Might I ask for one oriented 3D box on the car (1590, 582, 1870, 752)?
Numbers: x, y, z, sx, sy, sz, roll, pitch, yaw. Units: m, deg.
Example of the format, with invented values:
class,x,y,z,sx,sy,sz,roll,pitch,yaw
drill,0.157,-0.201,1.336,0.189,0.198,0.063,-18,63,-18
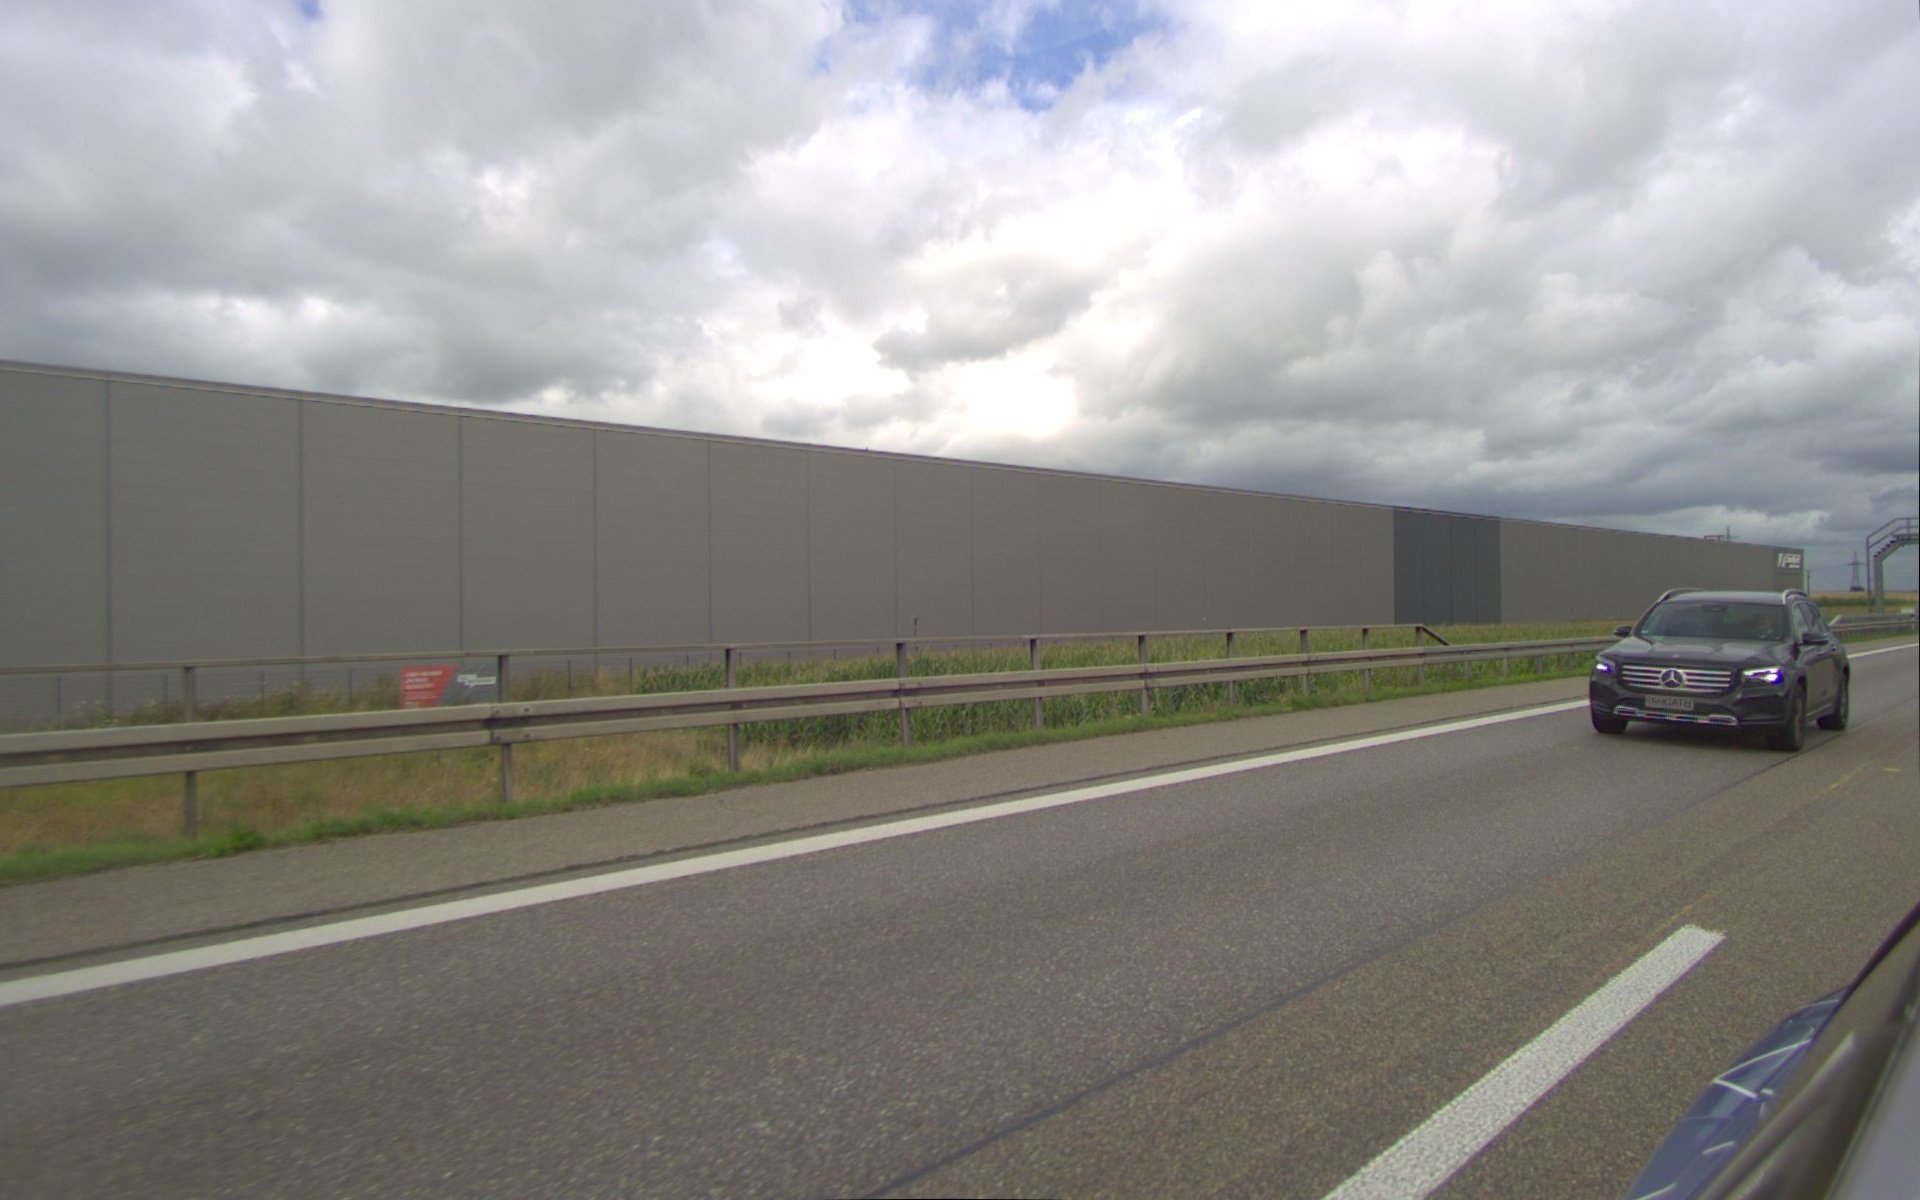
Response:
class,x,y,z,sx,sy,sz,roll,pitch,yaw
car,9.121,0.608,11.852,4.285,1.629,1.836,-1,1,-42
